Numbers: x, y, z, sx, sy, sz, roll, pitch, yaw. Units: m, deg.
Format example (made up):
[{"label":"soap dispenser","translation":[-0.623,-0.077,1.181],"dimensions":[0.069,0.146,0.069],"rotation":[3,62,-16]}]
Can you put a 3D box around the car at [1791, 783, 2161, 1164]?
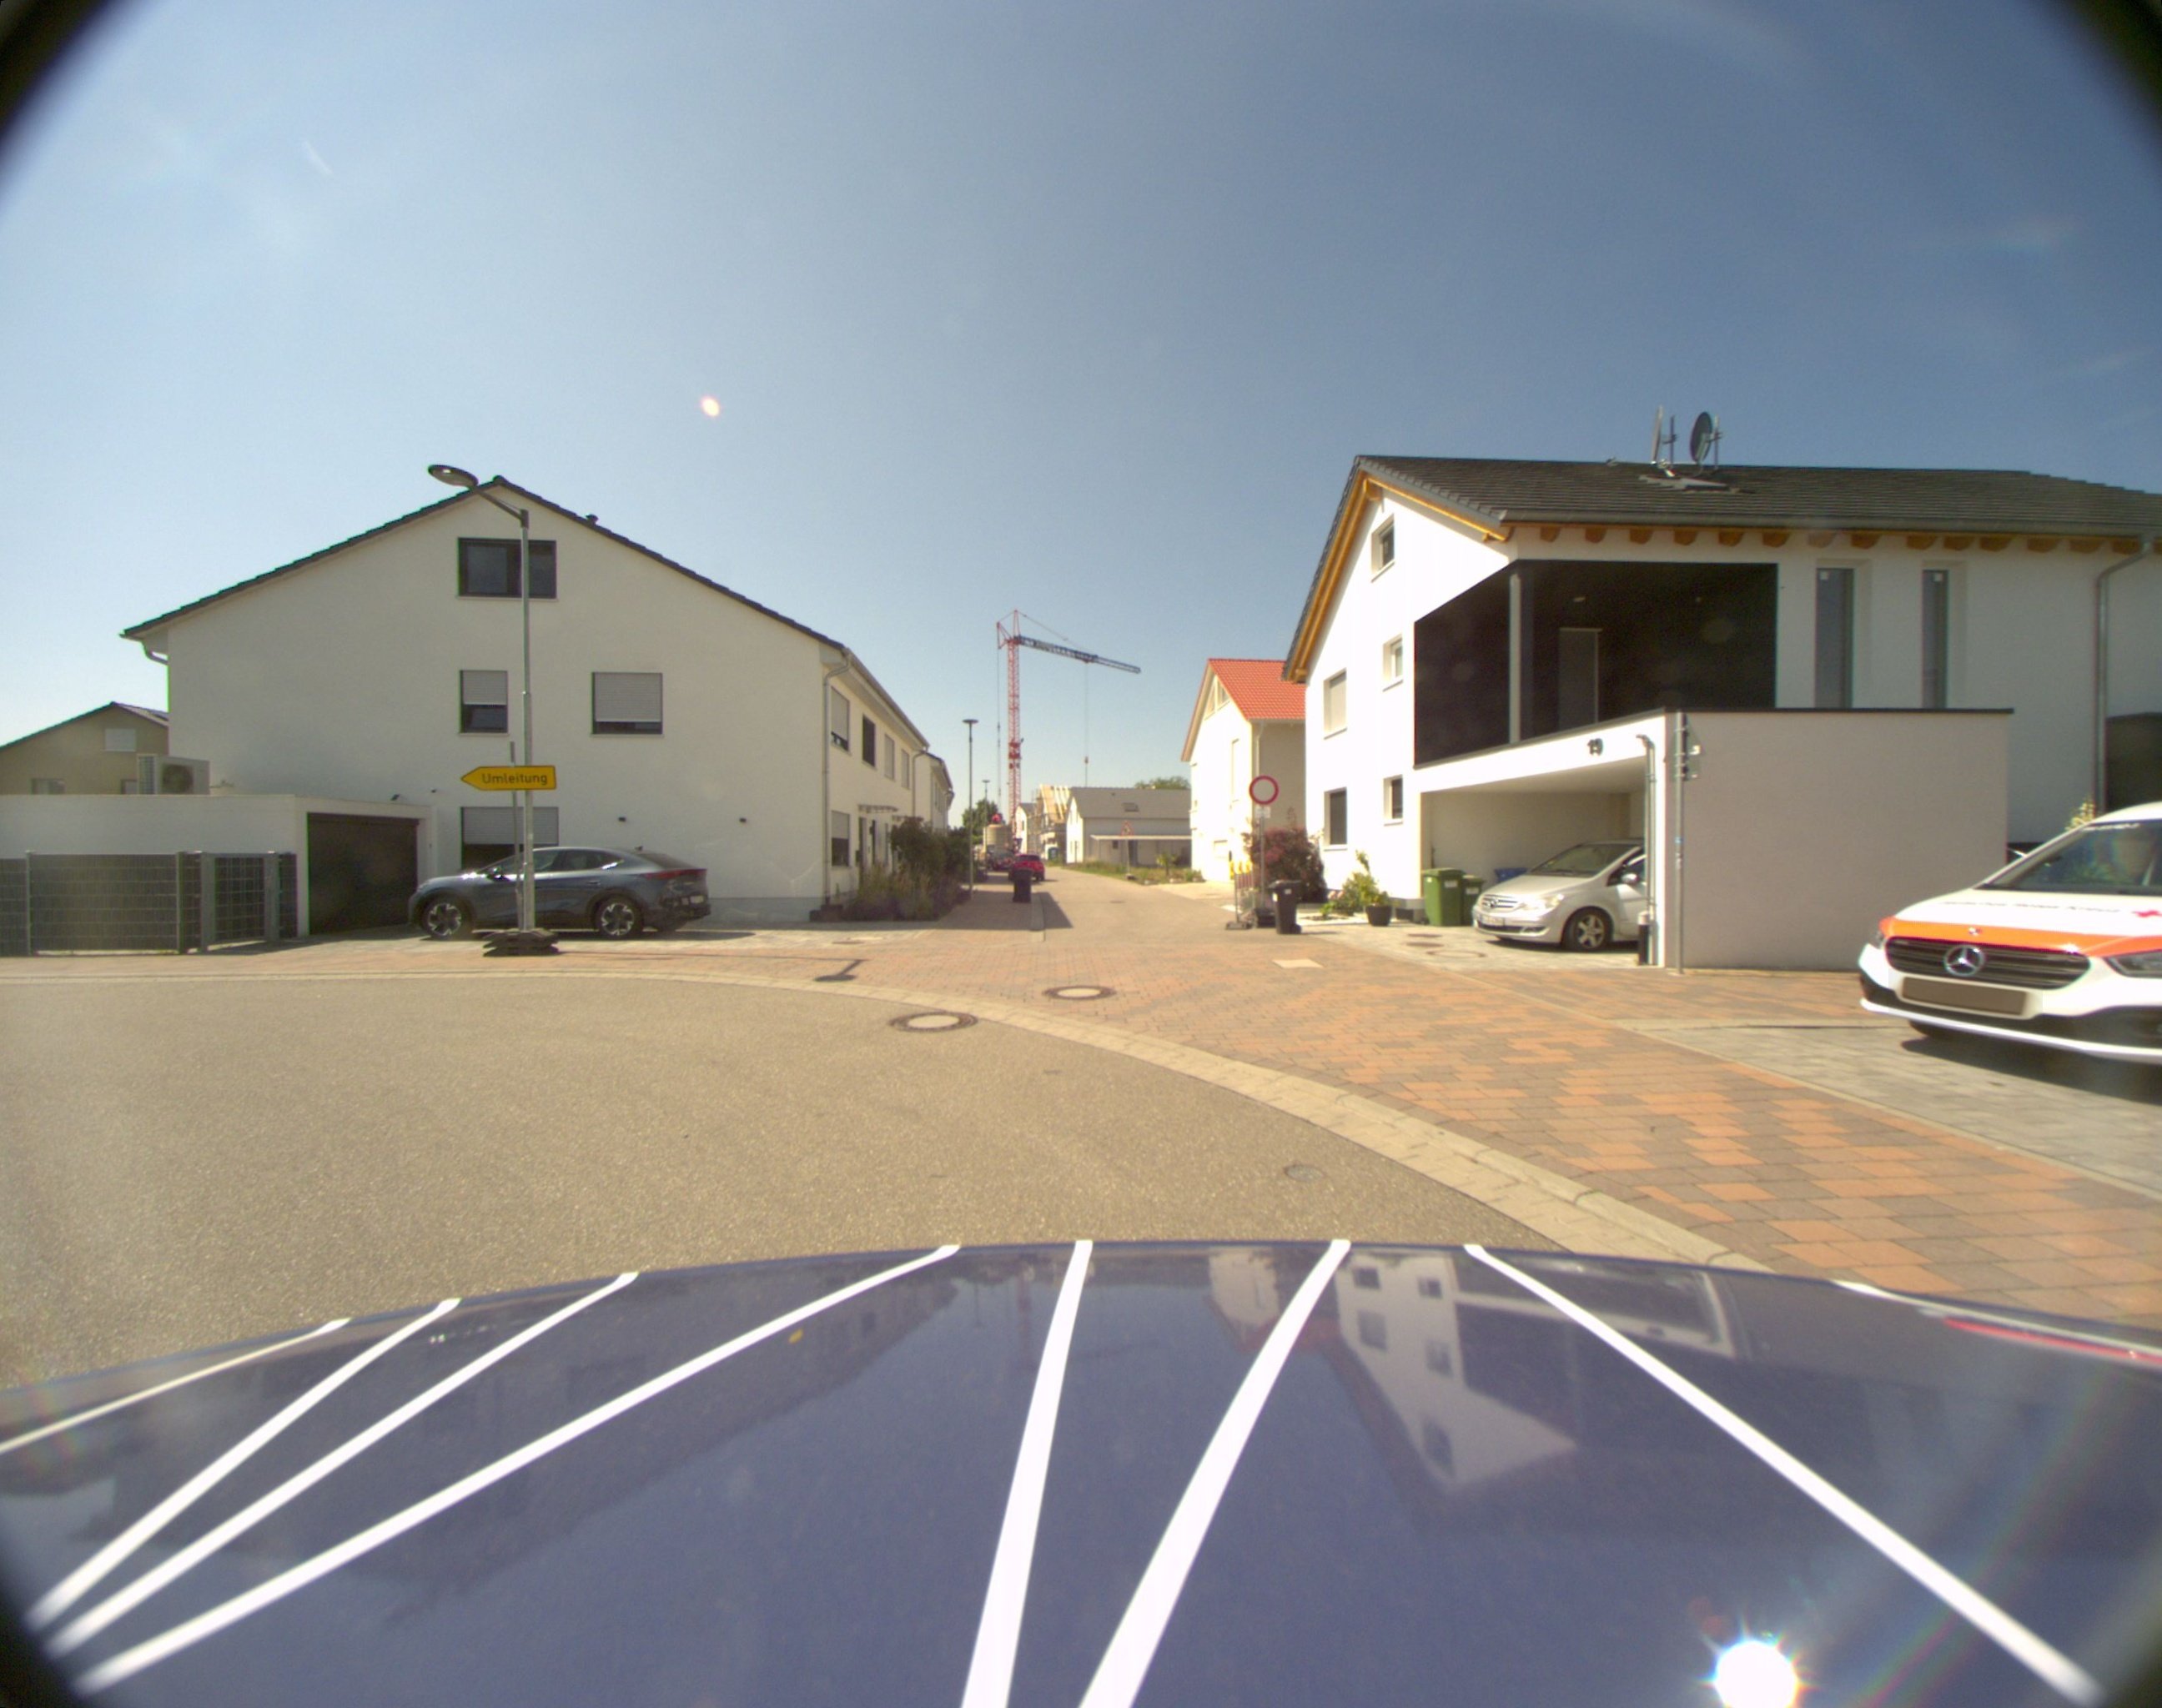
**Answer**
[{"label":"car","translation":[7.621,0.586,4.714],"dimensions":[4.749,1.864,1.937],"rotation":[0,1,-3]}]

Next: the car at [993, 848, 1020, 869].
[{"label":"car","translation":[-5.981,0.342,60.425],"dimensions":[1.804,1.609,3.671],"rotation":[0,1,-11]}]

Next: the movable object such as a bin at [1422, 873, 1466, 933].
[{"label":"movable object such as a bin","translation":[6.742,0.898,14.121],"dimensions":[0.500,1.085,0.601],"rotation":[0,-1,-5]}]

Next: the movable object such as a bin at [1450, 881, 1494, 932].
[{"label":"movable object such as a bin","translation":[7.314,0.966,14.233],"dimensions":[0.500,0.900,0.561],"rotation":[0,2,-5]}]

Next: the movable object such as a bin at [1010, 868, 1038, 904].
[{"label":"movable object such as a bin","translation":[-1.755,0.971,23.281],"dimensions":[0.824,1.058,0.589],"rotation":[0,2,-5]}]

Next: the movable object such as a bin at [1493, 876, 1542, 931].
[{"label":"movable object such as a bin","translation":[8.243,0.928,14.372],"dimensions":[0.500,0.981,0.676],"rotation":[0,2,-5]}]

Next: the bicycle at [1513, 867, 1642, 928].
[{"label":"bicycle","translation":[9.719,0.834,14.913],"dimensions":[2.133,1.120,0.778],"rotation":[0,2,-9]}]

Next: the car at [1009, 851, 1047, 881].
[{"label":"car","translation":[-2.901,0.623,41.015],"dimensions":[1.912,1.470,3.997],"rotation":[0,1,-5]}]

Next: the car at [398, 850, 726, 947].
[{"label":"car","translation":[-8.879,0.725,13.332],"dimensions":[4.348,1.549,1.960],"rotation":[0,0,-3]}]

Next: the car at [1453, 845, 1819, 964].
[{"label":"car","translation":[7.870,0.667,10.992],"dimensions":[4.165,1.553,1.744],"rotation":[0,0,-6]}]

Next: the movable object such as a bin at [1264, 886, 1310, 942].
[{"label":"movable object such as a bin","translation":[3.605,1.041,13.337],"dimensions":[0.618,0.931,0.564],"rotation":[-1,0,-5]}]
